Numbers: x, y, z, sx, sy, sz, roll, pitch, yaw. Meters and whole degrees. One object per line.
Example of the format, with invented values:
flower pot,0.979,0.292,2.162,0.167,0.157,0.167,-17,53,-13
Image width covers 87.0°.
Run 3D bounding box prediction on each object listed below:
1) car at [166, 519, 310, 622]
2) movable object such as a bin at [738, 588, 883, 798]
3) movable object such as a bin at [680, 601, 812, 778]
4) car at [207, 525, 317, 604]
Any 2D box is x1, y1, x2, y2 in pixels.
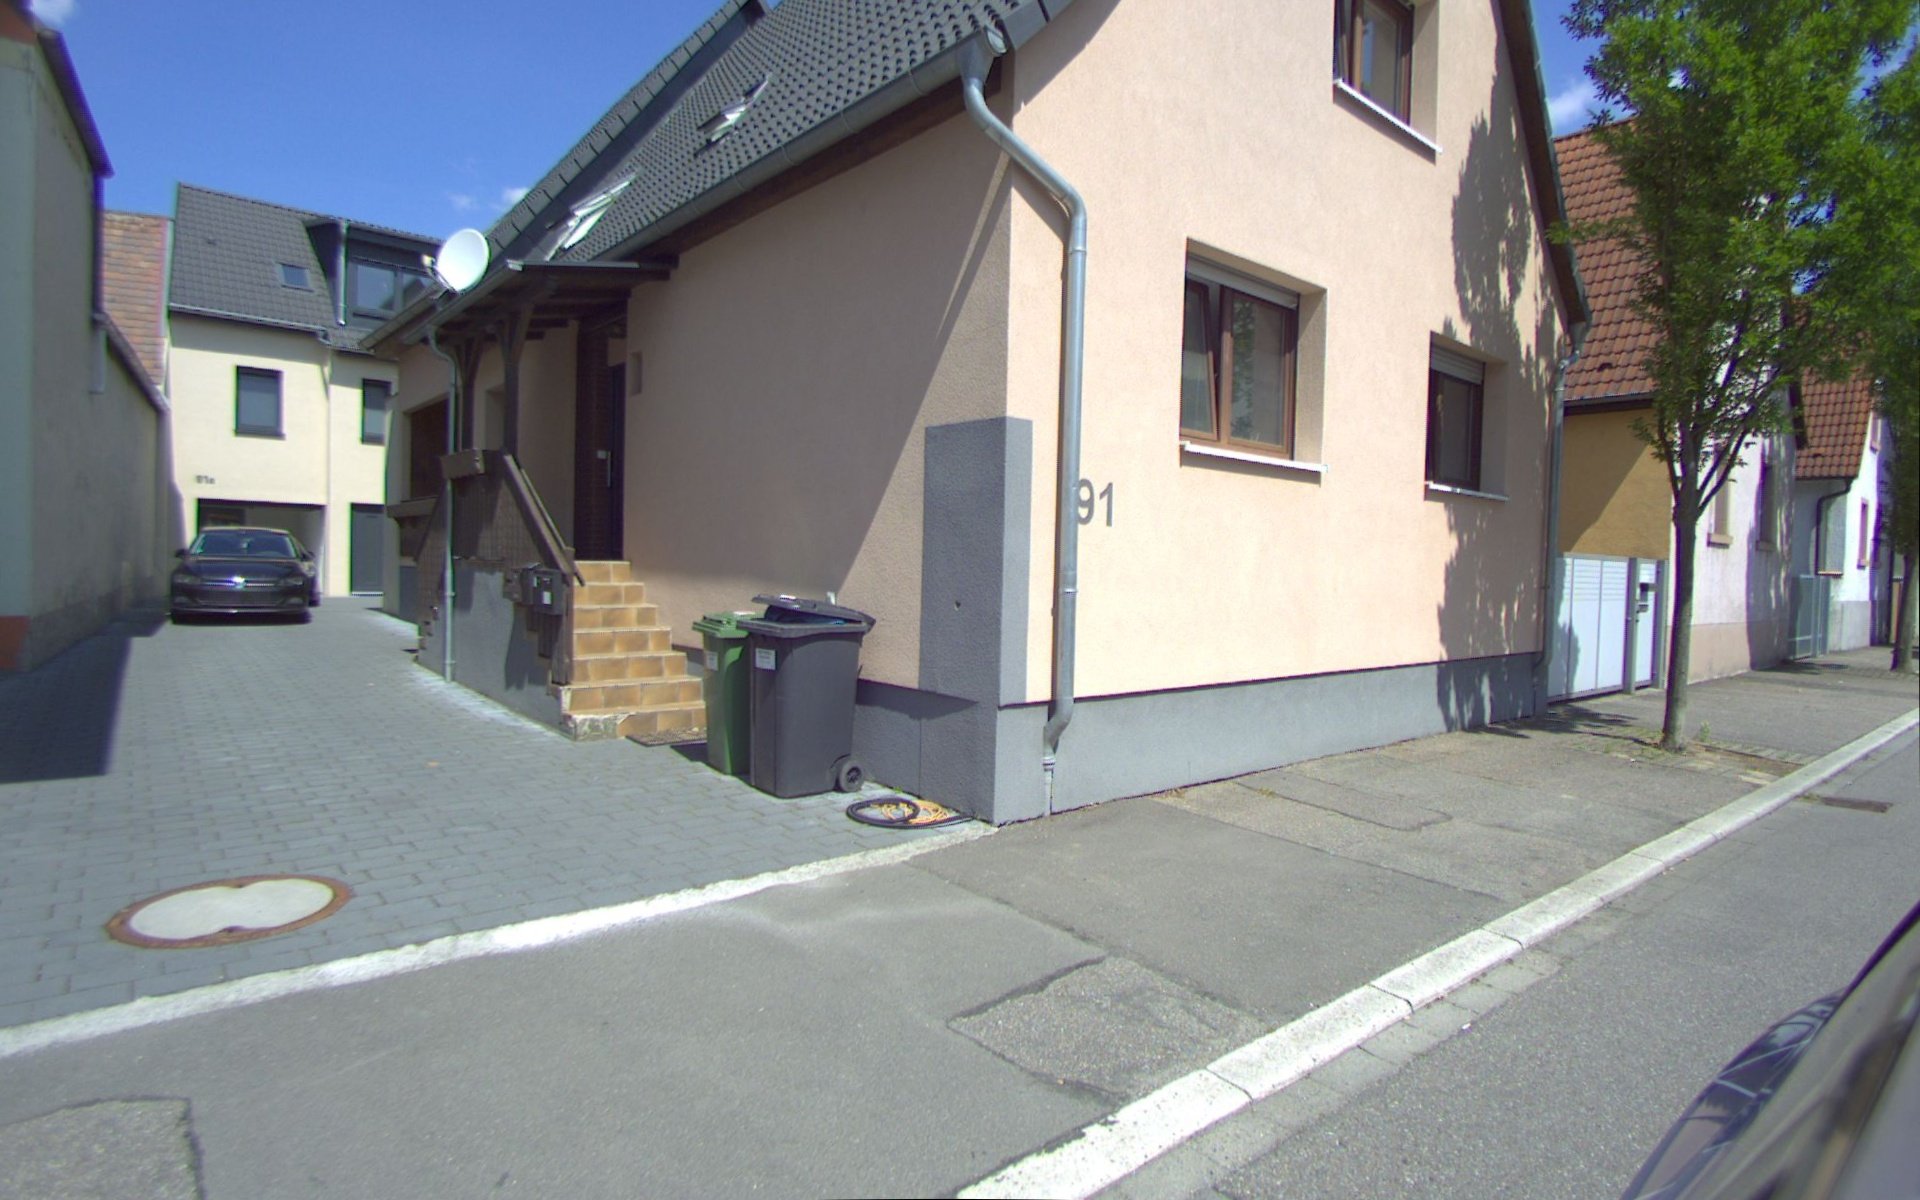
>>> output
car,-11.504,-0.482,16.338,1.669,1.437,4.141,0,2,-33
movable object such as a bin,-0.901,0.524,6.120,0.687,1.164,0.493,0,3,-42
movable object such as a bin,-1.387,0.545,6.560,0.660,1.041,0.493,0,3,-42
car,-14.068,-0.708,20.510,1.669,1.437,4.111,0,2,-34
